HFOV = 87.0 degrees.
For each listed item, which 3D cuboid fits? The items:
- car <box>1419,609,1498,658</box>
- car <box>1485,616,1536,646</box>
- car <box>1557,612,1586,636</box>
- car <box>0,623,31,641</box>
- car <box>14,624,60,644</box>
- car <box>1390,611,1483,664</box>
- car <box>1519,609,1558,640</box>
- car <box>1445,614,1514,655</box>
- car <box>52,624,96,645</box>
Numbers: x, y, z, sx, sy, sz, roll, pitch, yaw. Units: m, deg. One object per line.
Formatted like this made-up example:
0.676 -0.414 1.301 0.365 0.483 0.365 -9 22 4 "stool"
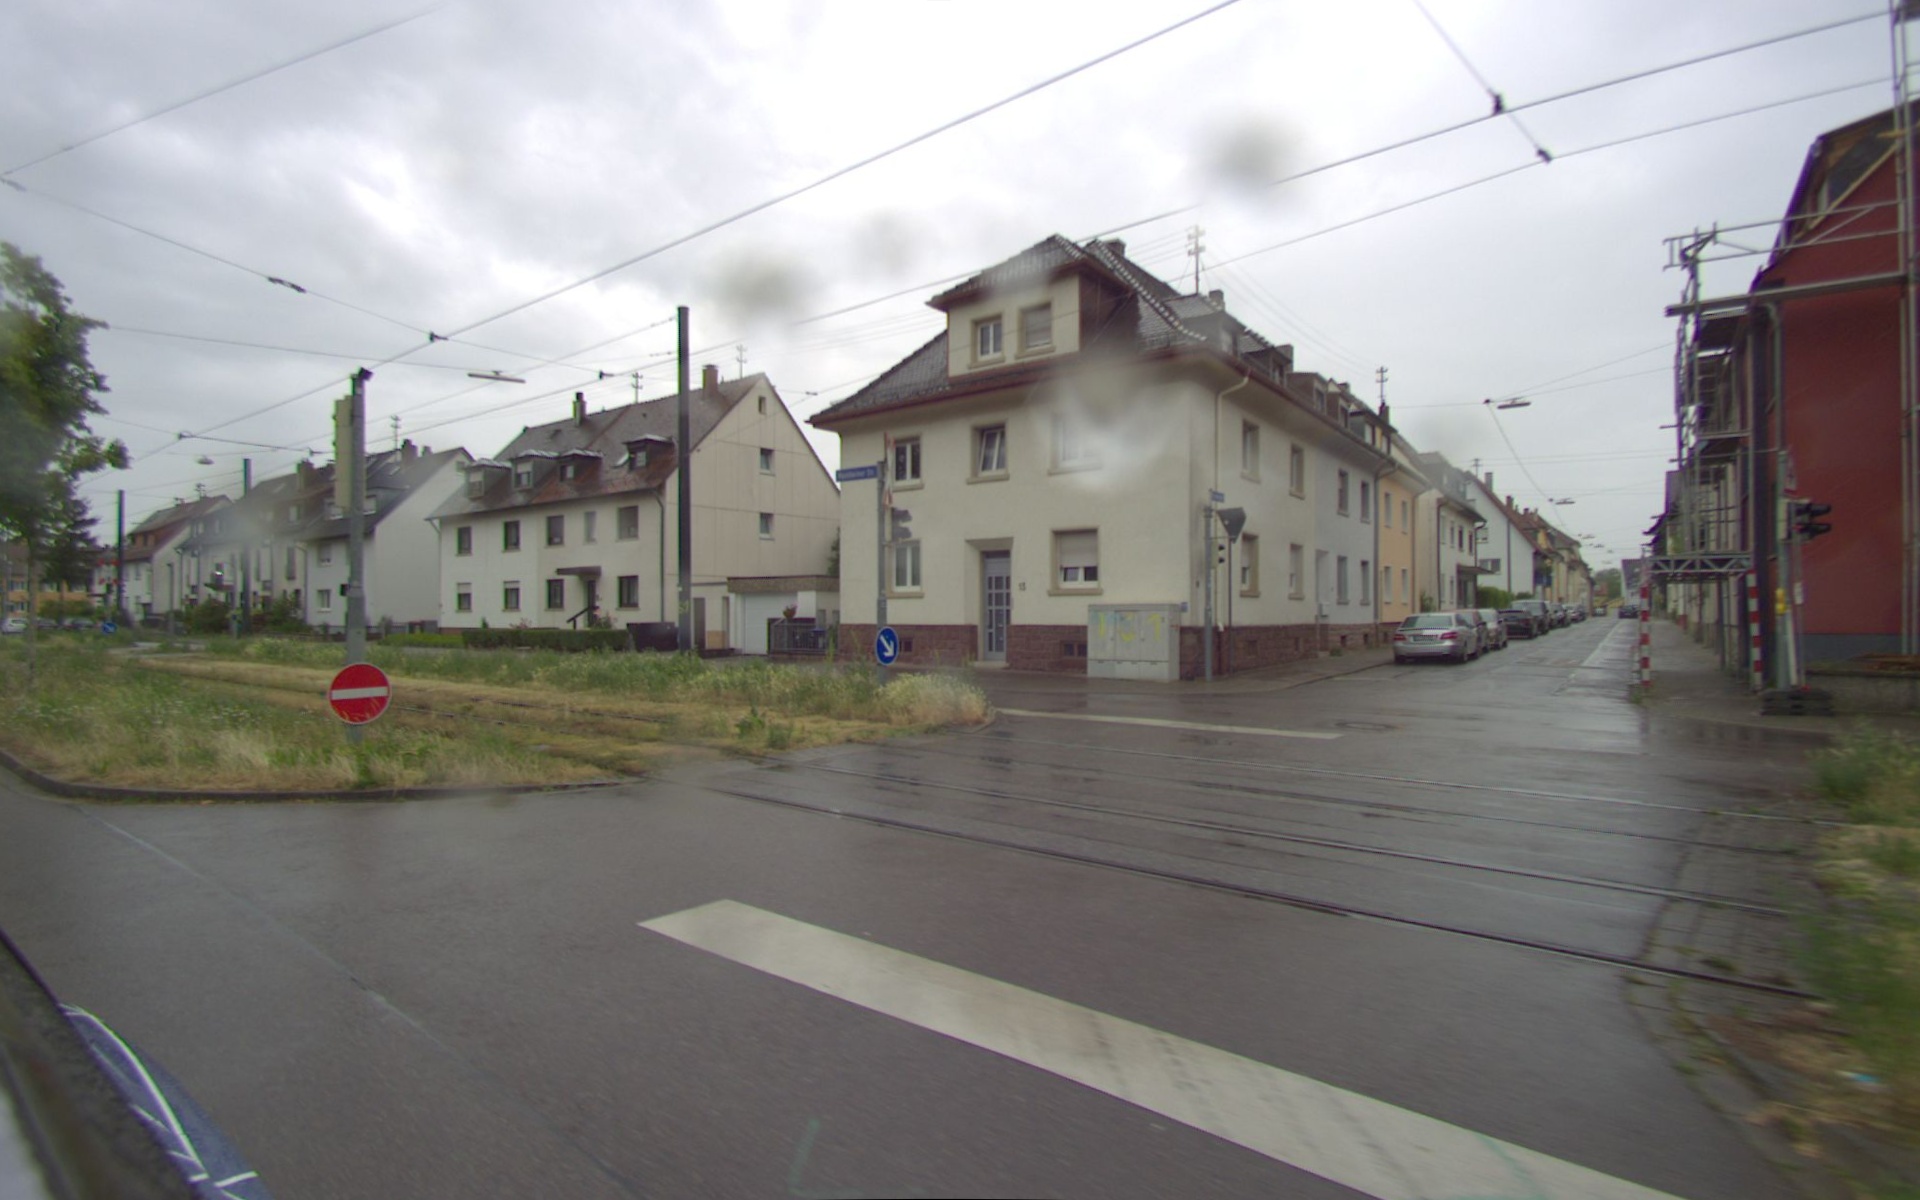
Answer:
16.563 1.082 33.522 1.837 1.532 4.316 -1 -1 33 "car"
26.077 1.447 47.886 1.788 1.378 4.316 -1 -1 33 "car"
48.554 1.866 80.318 1.788 1.837 4.316 -1 -1 33 "car"
-82.156 2.774 87.736 3.994 1.451 1.694 -1 -3 38 "car"
-73.538 2.693 80.628 4.749 1.543 1.869 -1 -3 38 "car"
13.787 1.049 29.172 1.837 1.412 4.316 -1 -1 33 "car"
35.363 1.475 61.858 1.788 1.837 4.316 -1 -1 33 "car"
19.178 1.240 37.273 1.837 1.390 4.316 -1 -1 33 "car"
-63.528 2.453 72.552 3.933 1.437 1.755 -1 -3 39 "car"
